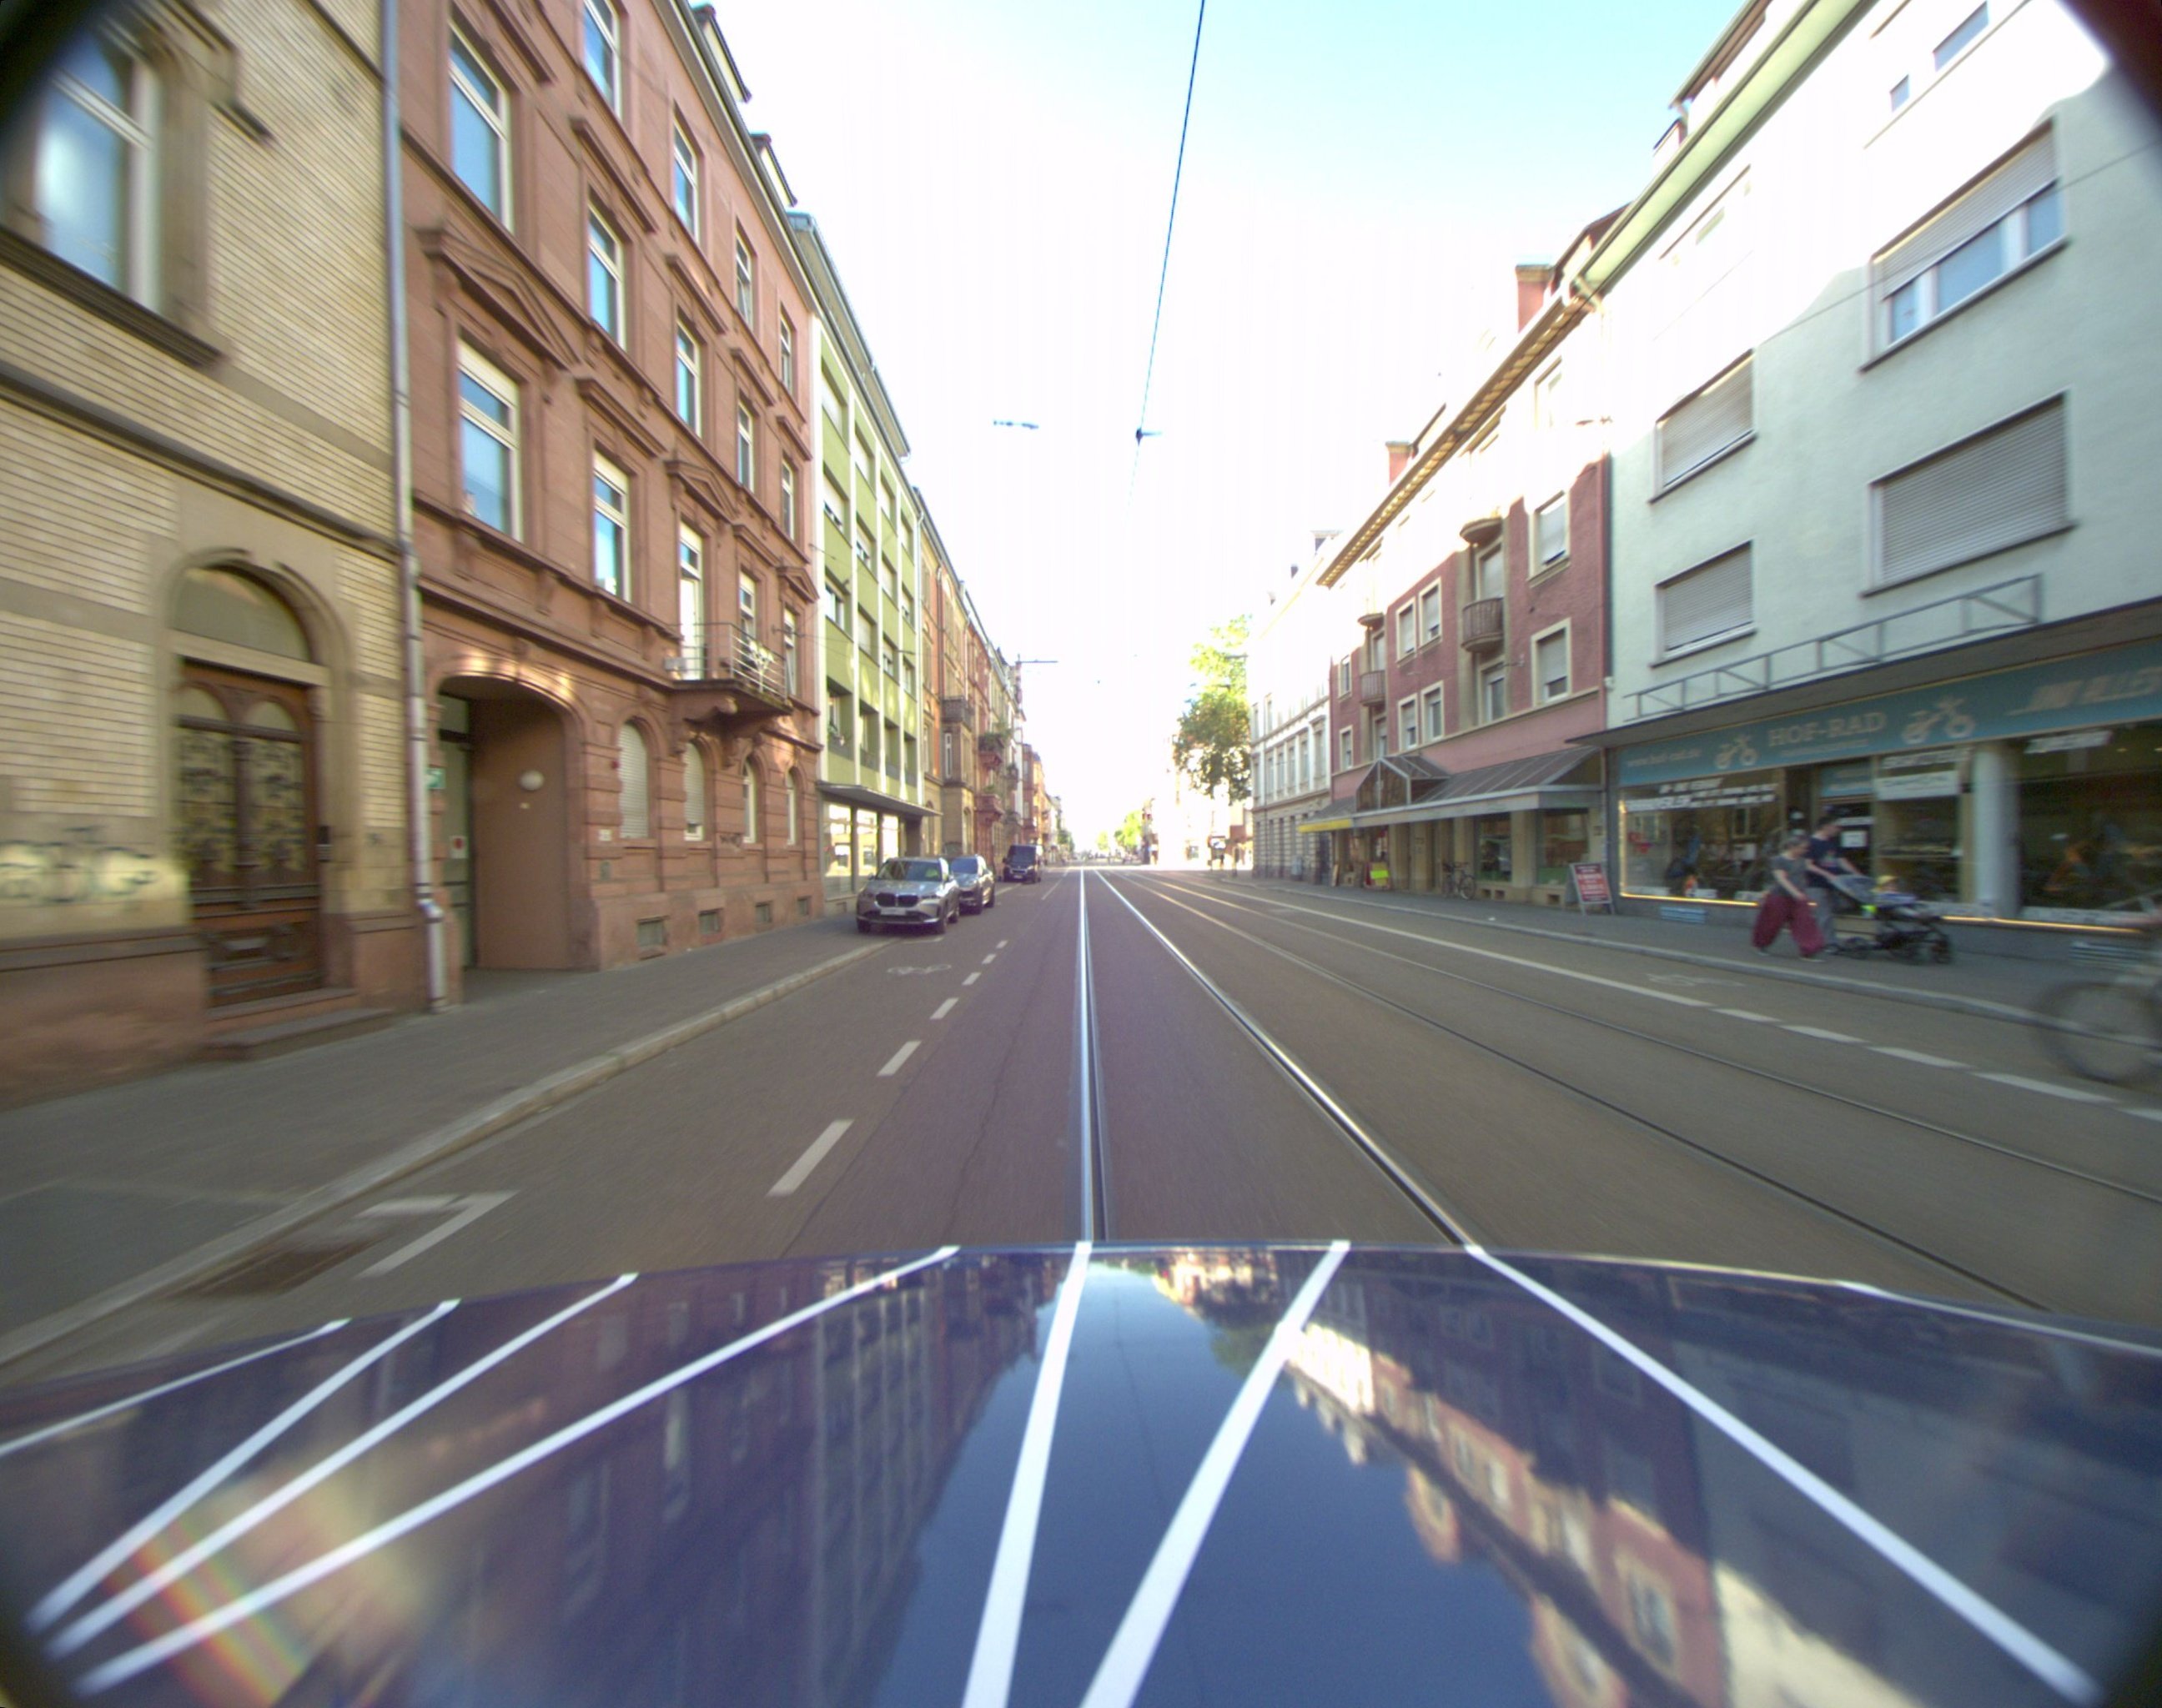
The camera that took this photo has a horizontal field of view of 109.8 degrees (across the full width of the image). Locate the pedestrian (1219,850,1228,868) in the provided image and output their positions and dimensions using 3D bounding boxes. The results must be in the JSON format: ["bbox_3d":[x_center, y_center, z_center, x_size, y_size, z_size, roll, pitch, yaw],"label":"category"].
[{"bbox_3d":[14.287,0.486,76.218,0.795,1.837,0.809,-2,1,3],"label":"pedestrian"}]

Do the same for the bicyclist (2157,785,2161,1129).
[{"bbox_3d":[6.559,0.594,4.047,0.613,2.002,0.733,-2,1,1],"label":"bicyclist"}]

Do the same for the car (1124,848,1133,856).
[{"bbox_3d":[12.221,-0.531,195.201,1.998,2.002,4.000,-1,0,0],"label":"car"}]

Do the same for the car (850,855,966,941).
[{"bbox_3d":[-3.812,0.886,17.470,1.871,1.637,4.399,-2,1,-4],"label":"car"}]

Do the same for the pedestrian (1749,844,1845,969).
[{"bbox_3d":[9.158,0.649,9.739,0.637,1.540,0.623,-2,1,0],"label":"pedestrian"}]

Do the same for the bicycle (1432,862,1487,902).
[{"bbox_3d":[10.966,0.784,22.115,0.425,1.053,2.329,-2,1,0],"label":"bicycle"}]

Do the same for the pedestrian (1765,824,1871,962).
[{"bbox_3d":[9.968,0.509,10.305,0.627,1.779,0.821,-2,1,0],"label":"pedestrian"}]

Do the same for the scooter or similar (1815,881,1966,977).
[{"bbox_3d":[9.899,0.883,9.342,0.663,1.055,1.105,-2,0,1],"label":"scooter or similar"}]

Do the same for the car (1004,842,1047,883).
[{"bbox_3d":[-3.578,0.488,50.054,2.128,2.478,5.856,-2,1,2],"label":"car"}]

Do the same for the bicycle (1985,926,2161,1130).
[{"bbox_3d":[6.565,1.058,4.232,0.603,1.089,2.044,1,1,1],"label":"bicycle"}]

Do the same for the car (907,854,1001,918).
[{"bbox_3d":[-3.679,0.874,22.919,1.998,1.606,4.785,2,1,0],"label":"car"}]
